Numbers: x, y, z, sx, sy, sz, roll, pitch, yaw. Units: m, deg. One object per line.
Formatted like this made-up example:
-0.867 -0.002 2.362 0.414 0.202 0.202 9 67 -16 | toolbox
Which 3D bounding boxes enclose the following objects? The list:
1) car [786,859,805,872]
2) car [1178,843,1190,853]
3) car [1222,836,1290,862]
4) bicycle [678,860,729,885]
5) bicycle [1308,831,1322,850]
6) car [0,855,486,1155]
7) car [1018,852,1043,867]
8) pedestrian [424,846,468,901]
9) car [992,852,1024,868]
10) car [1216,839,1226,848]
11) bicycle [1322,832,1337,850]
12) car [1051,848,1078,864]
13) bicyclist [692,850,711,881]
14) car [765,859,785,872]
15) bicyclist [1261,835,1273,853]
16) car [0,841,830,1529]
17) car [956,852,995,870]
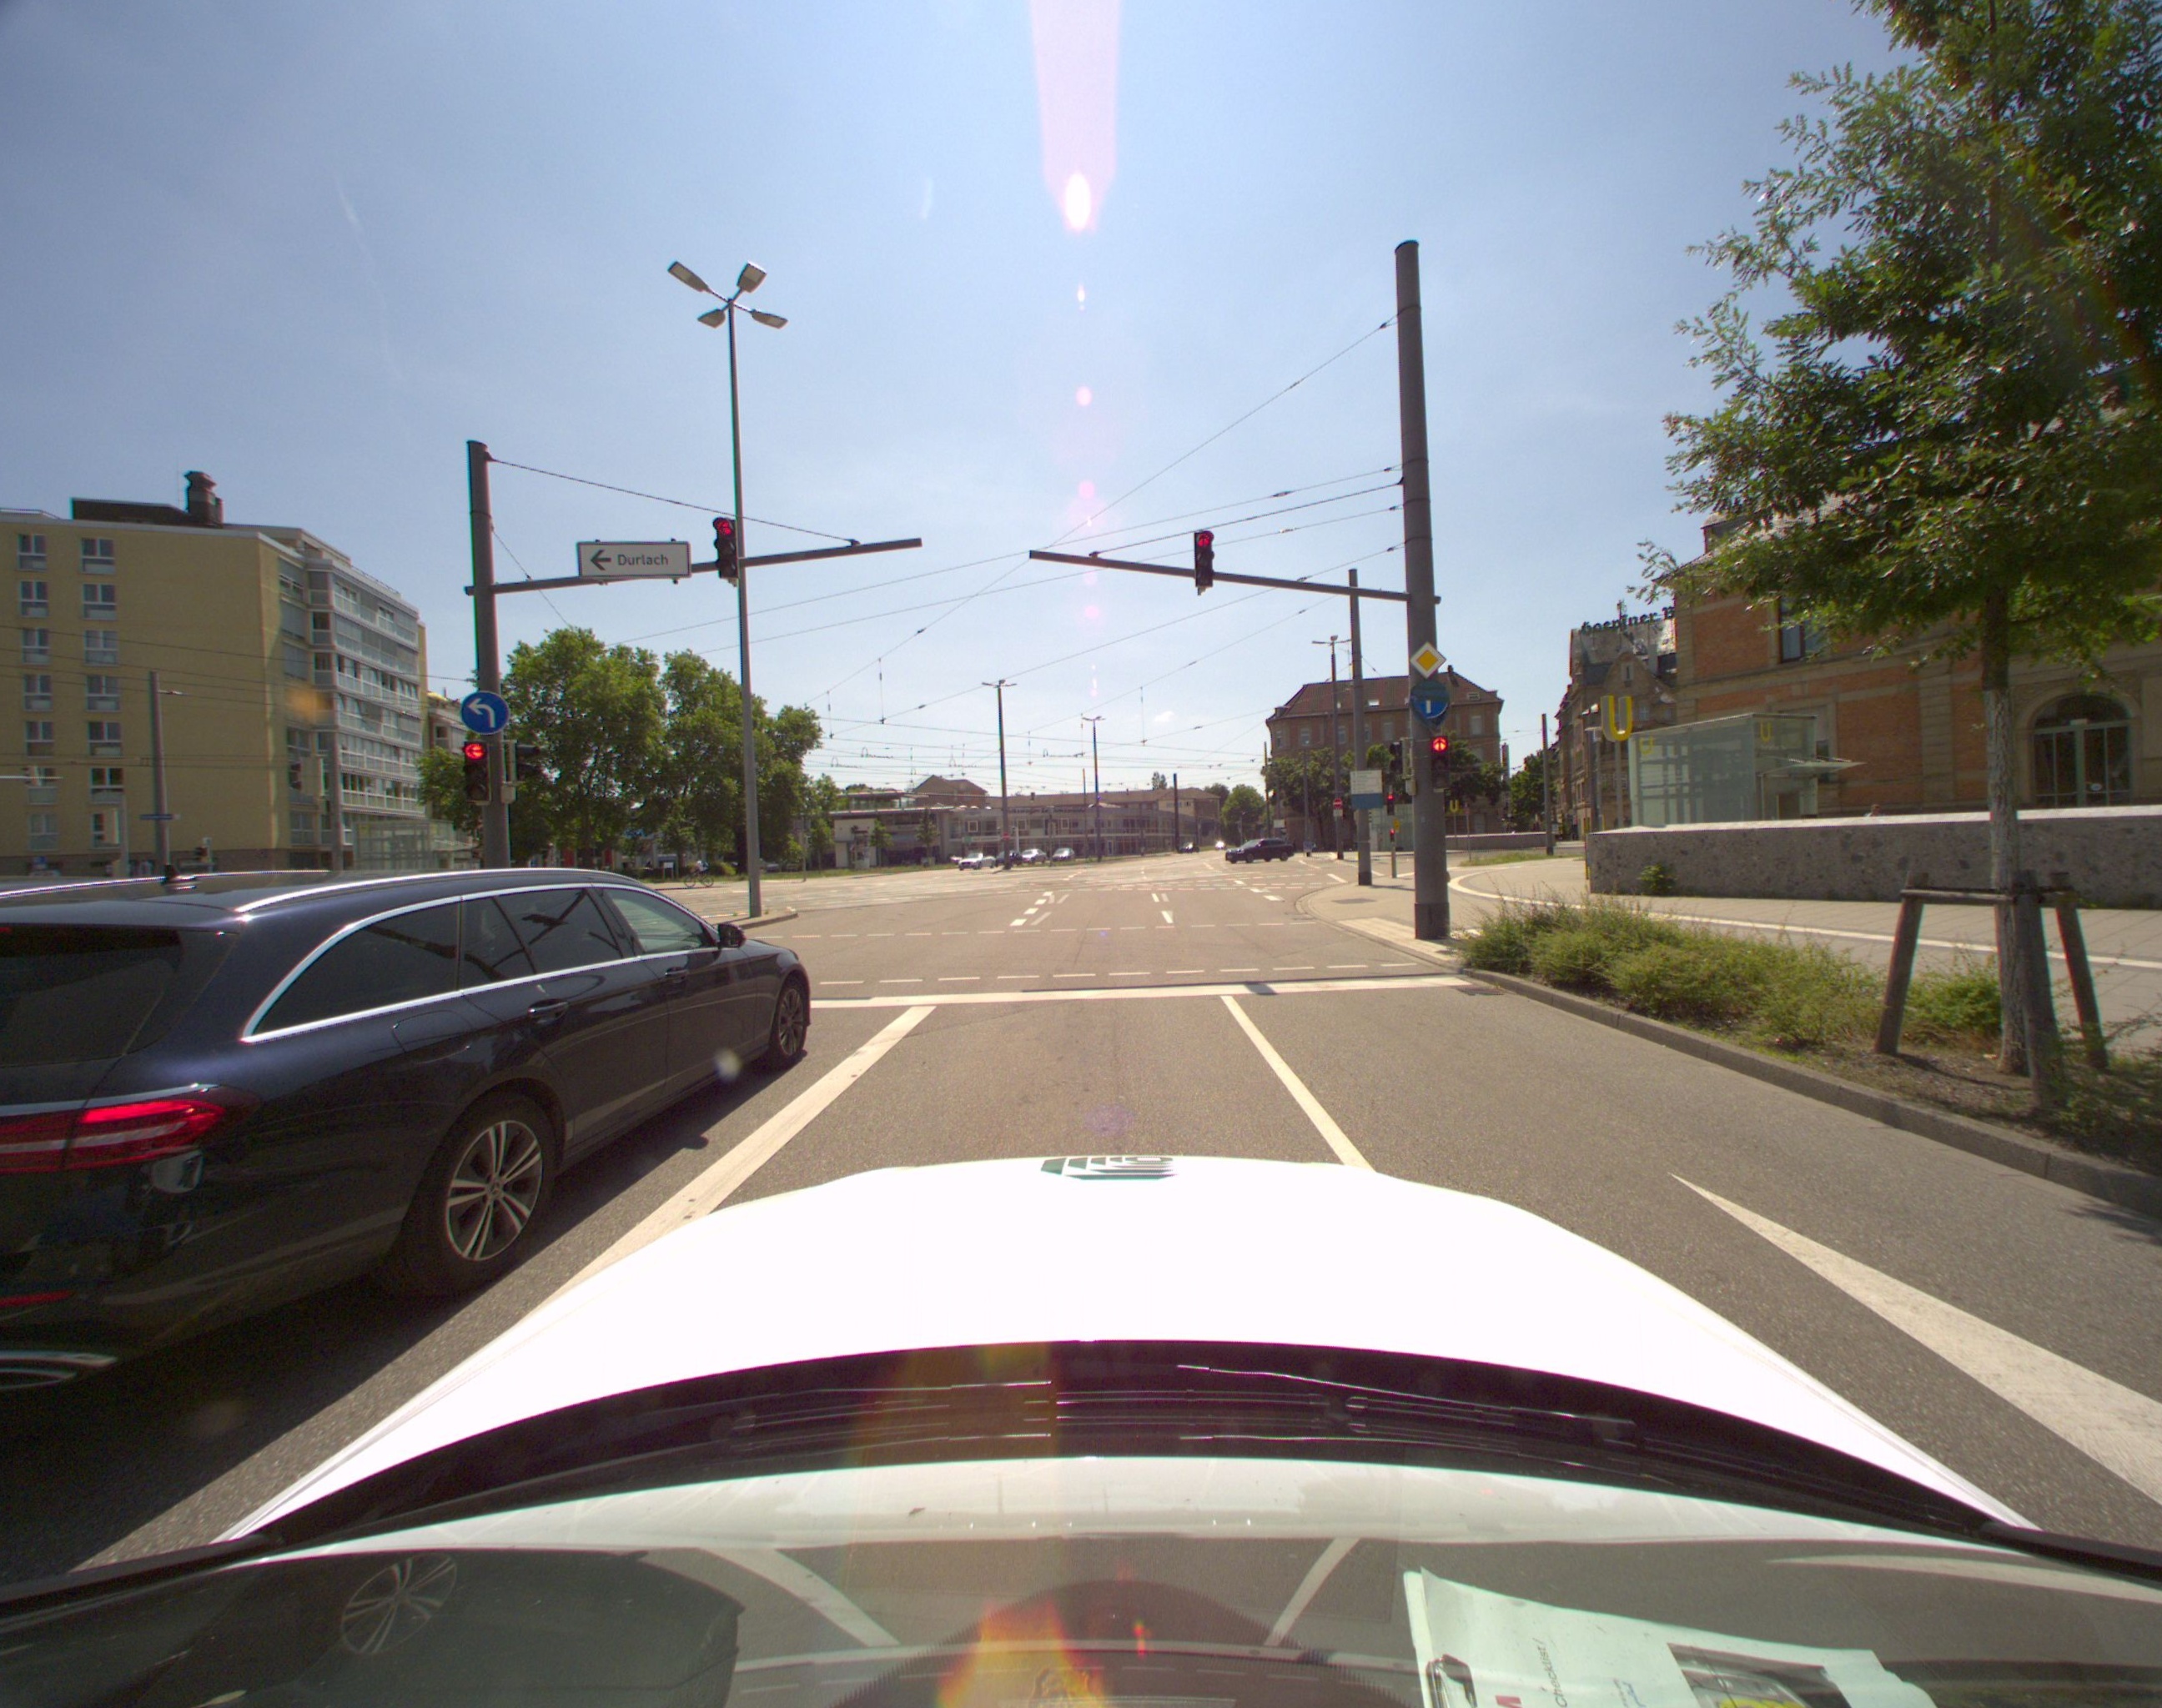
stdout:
-36.872 1.446 105.265 1.507 1.418 3.416 -1 2 -4 | car
15.730 -0.913 124.425 1.520 1.458 3.565 -1 2 13 | car
11.232 -0.351 52.140 4.123 1.450 1.683 -3 2 -26 | car
-23.596 1.131 50.910 2.817 1.463 0.634 -1 2 -1 | bicycle
23.924 -1.385 83.243 0.609 1.788 3.183 -1 2 2 | bicycle
-6.119 0.769 5.183 1.615 1.463 4.001 -2 0 1 | car
-4.947 0.513 79.963 1.421 1.285 3.274 -1 2 14 | car
-35.284 1.049 45.277 1.211 2.937 1.335 -1 2 -2 | pedestrian
-6.600 0.562 74.164 1.526 1.277 3.556 -1 2 18 | car
25.249 -1.945 146.565 1.575 1.528 3.728 -1 2 11 | car
25.351 -1.341 83.140 0.609 1.788 3.183 -1 2 2 | bicycle
-1.602 0.203 81.452 1.558 1.427 3.631 -1 2 19 | car
-23.723 0.716 50.915 0.761 1.937 0.660 -1 2 -1 | bicyclist
-39.704 1.434 105.745 1.422 1.508 3.433 -2 2 -4 | car
15.847 -0.865 69.406 0.734 1.479 0.652 -2 2 -17 | bicyclist
-2.913 0.771 4.154 1.710 1.556 4.588 -2 0 1 | car
-8.766 0.563 68.010 1.606 1.390 4.144 -2 0 18 | car
